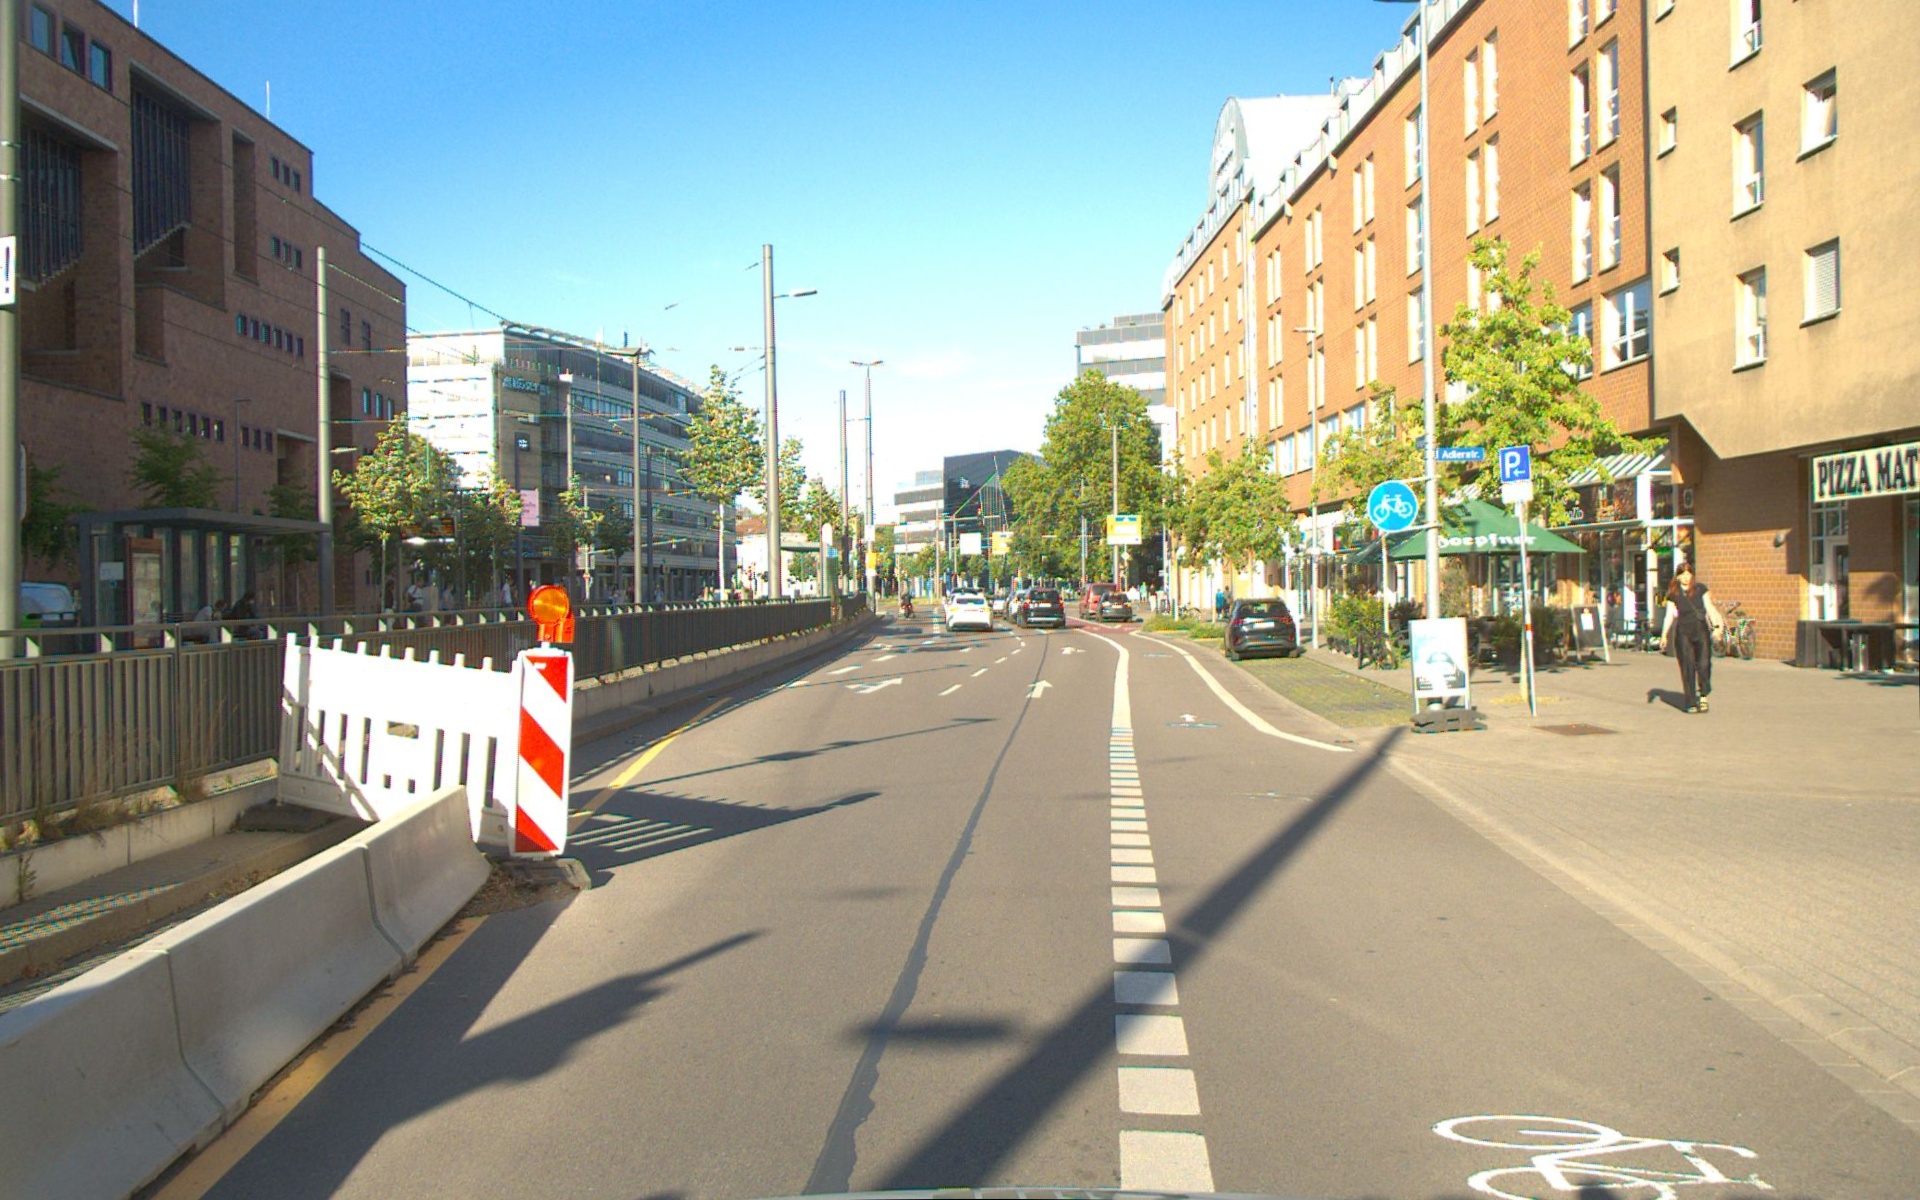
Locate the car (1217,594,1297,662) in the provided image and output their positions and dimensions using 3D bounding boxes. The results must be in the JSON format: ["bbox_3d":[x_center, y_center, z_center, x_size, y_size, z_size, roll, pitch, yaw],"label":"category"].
[{"bbox_3d":[7.863,0.708,44.106,1.684,1.665,4.234,-2,0,5],"label":"car"}]

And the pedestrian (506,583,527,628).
[{"bbox_3d":[-16.259,0.198,60.675,0.610,1.640,0.616,0,0,-1],"label":"pedestrian"}]

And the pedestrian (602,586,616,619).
[{"bbox_3d":[-17.457,0.122,82.187,0.552,1.637,0.616,0,0,-1],"label":"pedestrian"}]

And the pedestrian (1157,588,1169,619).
[{"bbox_3d":[12.304,0.208,100.197,0.594,1.853,0.748,-1,0,-2],"label":"pedestrian"}]

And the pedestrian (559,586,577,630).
[{"bbox_3d":[-16.017,0.321,67.558,0.570,1.768,0.616,0,0,-1],"label":"pedestrian"}]

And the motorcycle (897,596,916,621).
[{"bbox_3d":[-3.013,0.459,93.013,0.998,1.335,2.914,1,0,-1],"label":"motorcycle"}]

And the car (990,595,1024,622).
[{"bbox_3d":[2.769,0.484,97.783,1.813,1.524,4.378,0,0,-1],"label":"car"}]

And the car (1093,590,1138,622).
[{"bbox_3d":[8.024,0.310,85.506,1.809,1.588,4.632,1,0,-1],"label":"car"}]

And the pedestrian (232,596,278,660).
[{"bbox_3d":[-15.045,0.585,35.304,0.633,1.331,0.721,-3,0,-1],"label":"pedestrian"}]

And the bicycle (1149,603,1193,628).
[{"bbox_3d":[9.541,0.710,74.857,1.903,1.094,0.555,-2,-1,10],"label":"bicycle"}]

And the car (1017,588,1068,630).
[{"bbox_3d":[3.611,0.376,72.965,1.935,1.790,4.632,1,0,-1],"label":"car"}]

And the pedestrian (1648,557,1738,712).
[{"bbox_3d":[8.848,0.409,20.004,0.866,1.794,1.105,-3,-1,22],"label":"pedestrian"}]

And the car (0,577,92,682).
[{"bbox_3d":[-18.465,0.550,31.249,1.954,1.913,4.579,-1,0,-4],"label":"car"}]

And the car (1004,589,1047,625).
[{"bbox_3d":[3.152,0.321,80.446,1.813,1.668,4.378,-1,0,-1],"label":"car"}]

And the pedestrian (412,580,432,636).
[{"bbox_3d":[-15.905,0.228,48.901,0.370,1.649,0.553,1,0,-1],"label":"pedestrian"}]

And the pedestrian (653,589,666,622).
[{"bbox_3d":[-17.120,0.305,94.264,0.601,1.849,0.896,0,0,-1],"label":"pedestrian"}]

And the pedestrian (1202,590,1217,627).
[{"bbox_3d":[12.473,0.426,82.580,0.594,1.853,0.748,-1,0,-2],"label":"pedestrian"}]

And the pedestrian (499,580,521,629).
[{"bbox_3d":[-16.300,0.168,59.937,0.610,1.744,0.616,0,0,-1],"label":"pedestrian"}]

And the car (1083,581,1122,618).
[{"bbox_3d":[7.866,-0.030,91.819,1.822,1.995,4.000,-1,0,0],"label":"car"}]

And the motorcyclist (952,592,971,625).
[{"bbox_3d":[0.049,0.388,76.147,0.820,1.501,1.236,-1,0,-2],"label":"motorcyclist"}]

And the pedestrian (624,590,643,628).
[{"bbox_3d":[-14.755,0.411,74.802,0.627,1.672,0.945,1,0,-1],"label":"pedestrian"}]

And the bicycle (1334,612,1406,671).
[{"bbox_3d":[8.455,0.858,34.186,0.751,1.100,1.996,-6,-1,-4],"label":"bicycle"}]

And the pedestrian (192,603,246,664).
[{"bbox_3d":[-14.900,0.669,33.268,0.706,1.188,0.721,-3,0,-1],"label":"pedestrian"}]

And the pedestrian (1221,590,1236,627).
[{"bbox_3d":[13.513,0.420,83.208,0.594,1.853,0.748,-1,0,-2],"label":"pedestrian"}]

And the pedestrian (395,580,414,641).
[{"bbox_3d":[-15.529,0.285,46.256,0.370,1.677,0.416,1,0,-1],"label":"pedestrian"}]

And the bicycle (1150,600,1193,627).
[{"bbox_3d":[9.634,0.600,75.380,1.903,1.157,0.491,-2,-1,10],"label":"bicycle"}]

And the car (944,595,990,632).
[{"bbox_3d":[0.260,0.518,67.378,1.744,1.439,4.817,1,0,-1],"label":"car"}]

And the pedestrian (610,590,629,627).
[{"bbox_3d":[-15.390,0.379,74.806,0.627,1.636,0.945,1,0,-1],"label":"pedestrian"}]

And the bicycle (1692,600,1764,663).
[{"bbox_3d":[15.317,0.616,33.004,0.601,1.190,1.536,-2,0,-4],"label":"bicycle"}]

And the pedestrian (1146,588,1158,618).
[{"bbox_3d":[11.988,0.192,103.215,0.594,1.853,0.748,-1,0,-2],"label":"pedestrian"}]

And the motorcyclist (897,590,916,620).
[{"bbox_3d":[-3.016,0.281,93.033,0.998,1.631,1.148,1,0,-1],"label":"motorcyclist"}]

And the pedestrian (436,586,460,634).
[{"bbox_3d":[-15.968,0.303,51.601,0.528,1.485,0.642,1,0,-1],"label":"pedestrian"}]

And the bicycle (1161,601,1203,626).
[{"bbox_3d":[10.437,0.634,77.778,1.903,1.093,0.626,-2,-1,11],"label":"bicycle"}]

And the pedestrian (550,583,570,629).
[{"bbox_3d":[-15.178,0.220,62.765,0.627,1.725,0.541,1,0,-1],"label":"pedestrian"}]
